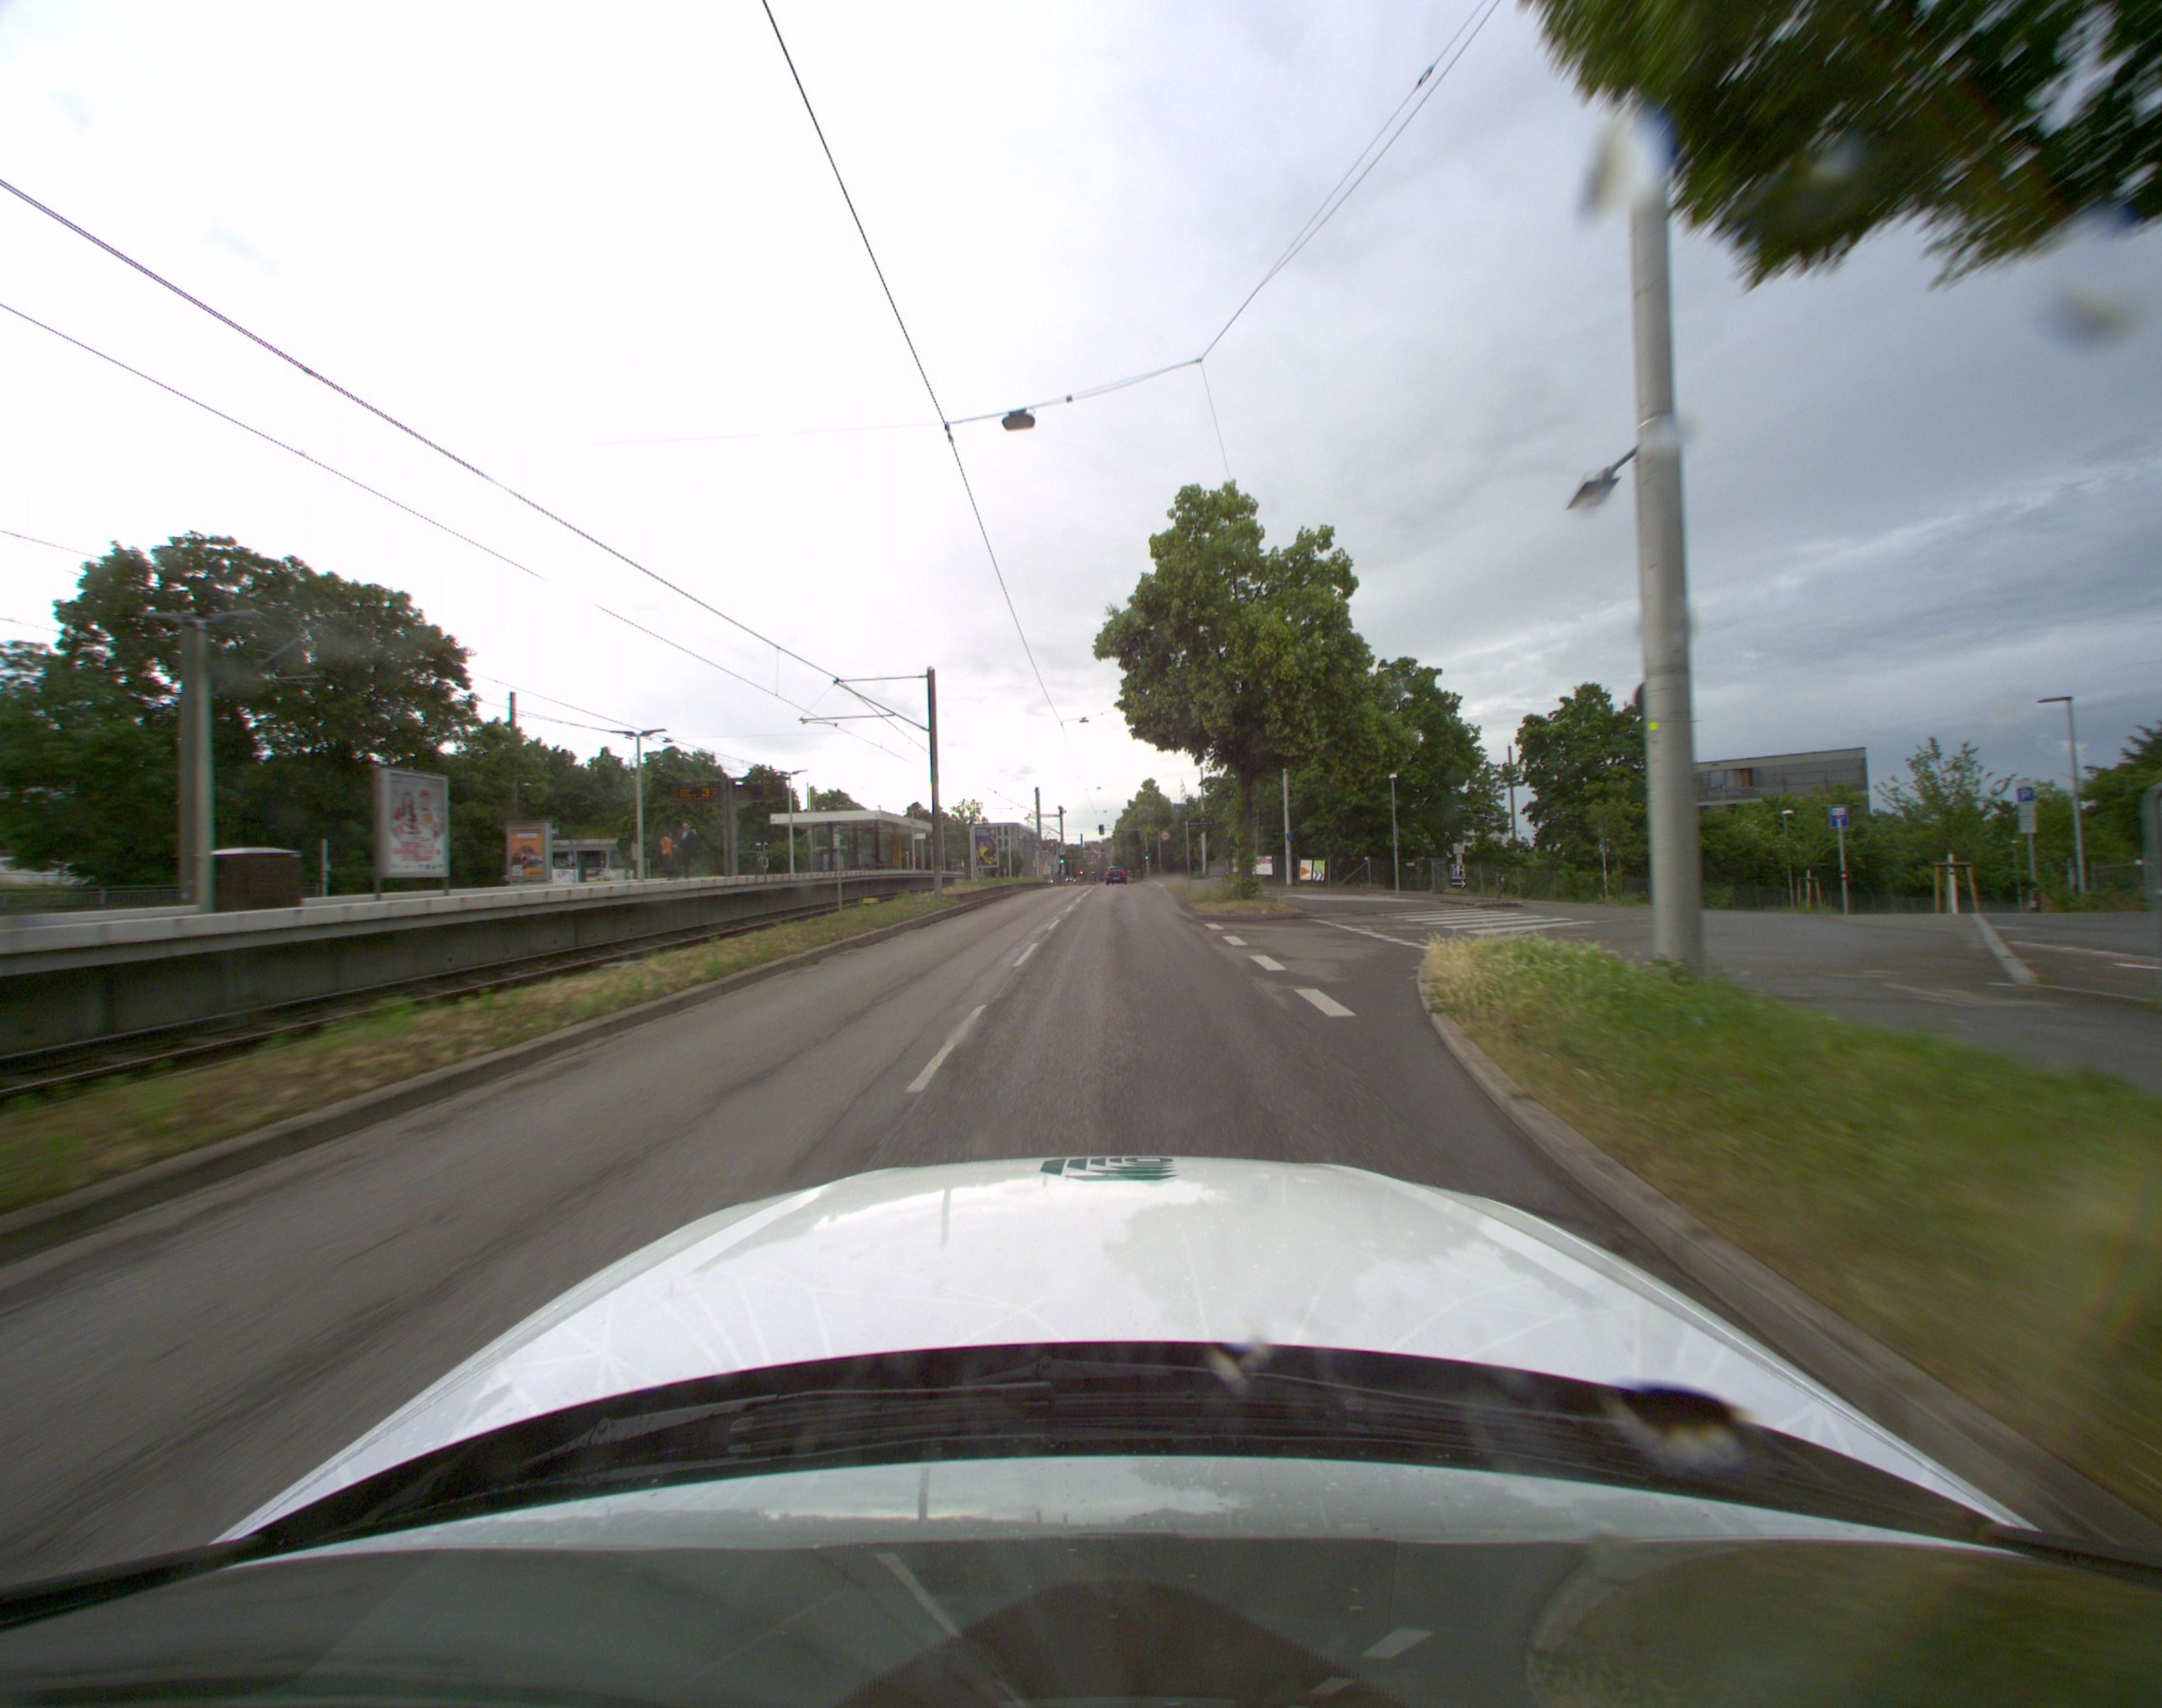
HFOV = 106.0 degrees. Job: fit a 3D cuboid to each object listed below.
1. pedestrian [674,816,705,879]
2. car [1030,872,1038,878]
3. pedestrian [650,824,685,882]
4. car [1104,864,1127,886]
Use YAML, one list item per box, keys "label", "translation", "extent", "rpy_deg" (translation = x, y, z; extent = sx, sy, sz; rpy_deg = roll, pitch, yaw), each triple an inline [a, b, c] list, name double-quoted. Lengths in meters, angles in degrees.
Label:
- label: "pedestrian"
  translation: [-12.005, -0.217, 24.982]
  extent: [0.745, 1.909, 0.836]
  rpy_deg: [-1, 1, -20]
- label: "car"
  translation: [-13.478, 6.037, 234.251]
  extent: [1.840, 1.632, 3.617]
  rpy_deg: [0, 1, 7]
- label: "pedestrian"
  translation: [-12.158, -0.049, 23.968]
  extent: [0.797, 1.647, 0.913]
  rpy_deg: [-1, 1, -20]
- label: "car"
  translation: [2.736, 1.630, 64.835]
  extent: [1.720, 1.540, 4.002]
  rpy_deg: [-2, 1, 1]
